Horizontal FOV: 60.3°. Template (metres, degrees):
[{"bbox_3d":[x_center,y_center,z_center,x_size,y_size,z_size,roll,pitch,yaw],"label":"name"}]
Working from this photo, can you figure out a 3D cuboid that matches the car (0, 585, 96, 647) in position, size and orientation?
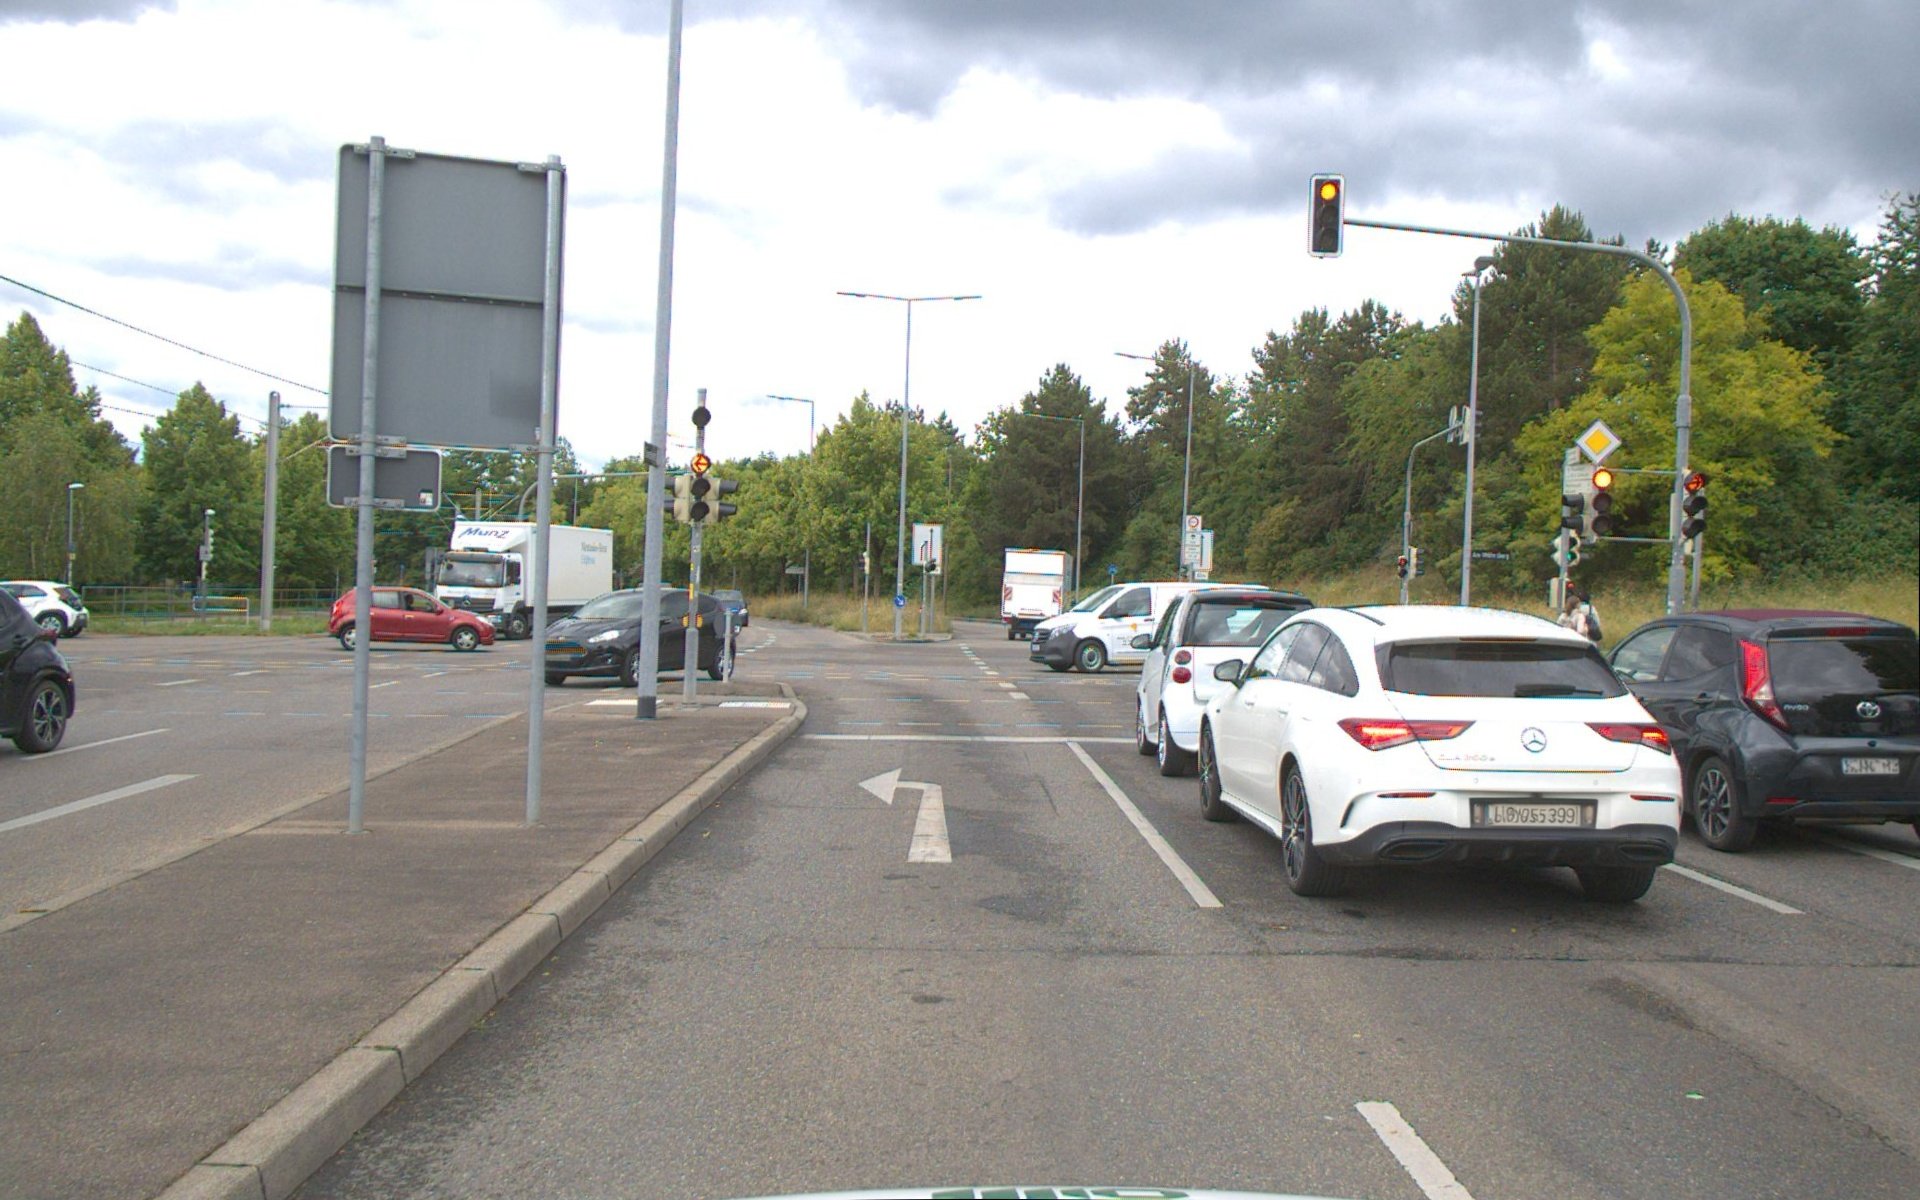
[{"bbox_3d":[-25.626,0.438,44.967,3.689,1.534,1.767,-1,4,-26],"label":"car"}]

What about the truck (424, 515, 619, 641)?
[{"bbox_3d":[-14.030,-0.657,53.961,2.603,3.713,9.510,1,0,8],"label":"truck"}]

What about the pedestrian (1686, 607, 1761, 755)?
[{"bbox_3d":[7.781,0.815,16.873,0.598,1.479,0.354,1,0,8],"label":"pedestrian"}]

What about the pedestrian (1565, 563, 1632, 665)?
[{"bbox_3d":[10.150,0.217,26.308,0.846,1.588,0.518,1,1,-3],"label":"pedestrian"}]

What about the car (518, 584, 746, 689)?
[{"bbox_3d":[-5.058,0.513,25.979,1.601,1.505,3.775,1,1,25],"label":"car"}]

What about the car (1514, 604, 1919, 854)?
[{"bbox_3d":[5.370,0.759,11.645,1.514,1.428,3.999,0,0,-2],"label":"car"}]

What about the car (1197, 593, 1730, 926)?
[{"bbox_3d":[2.538,0.697,9.480,1.686,1.446,4.356,1,0,-1],"label":"car"}]

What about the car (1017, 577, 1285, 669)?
[{"bbox_3d":[4.042,0.522,35.142,5.332,1.847,1.990,1,-2,-17],"label":"car"}]

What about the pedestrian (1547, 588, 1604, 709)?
[{"bbox_3d":[8.726,0.677,23.460,0.598,1.662,0.614,2,0,8],"label":"pedestrian"}]

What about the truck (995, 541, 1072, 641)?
[{"bbox_3d":[2.964,-0.395,64.614,2.626,3.661,7.268,1,1,5],"label":"truck"}]

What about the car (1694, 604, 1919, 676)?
[{"bbox_3d":[18.935,0.871,36.691,4.398,1.487,2.001,0,1,1],"label":"car"}]

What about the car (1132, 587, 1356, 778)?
[{"bbox_3d":[2.444,0.666,14.758,1.504,1.530,2.670,1,0,-1],"label":"car"}]

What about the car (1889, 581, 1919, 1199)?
[{"bbox_3d":[2.604,0.764,1.038,1.762,1.550,4.188,0,1,1],"label":"car"}]

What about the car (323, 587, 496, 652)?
[{"bbox_3d":[-13.462,0.496,40.582,3.925,1.543,1.723,1,-2,-18],"label":"car"}]

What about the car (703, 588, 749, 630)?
[{"bbox_3d":[-10.398,0.398,73.634,1.879,1.603,3.996,0,3,-6],"label":"car"}]

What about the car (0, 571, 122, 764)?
[{"bbox_3d":[-8.395,0.534,12.807,1.560,1.522,3.942,0,1,5],"label":"car"}]
